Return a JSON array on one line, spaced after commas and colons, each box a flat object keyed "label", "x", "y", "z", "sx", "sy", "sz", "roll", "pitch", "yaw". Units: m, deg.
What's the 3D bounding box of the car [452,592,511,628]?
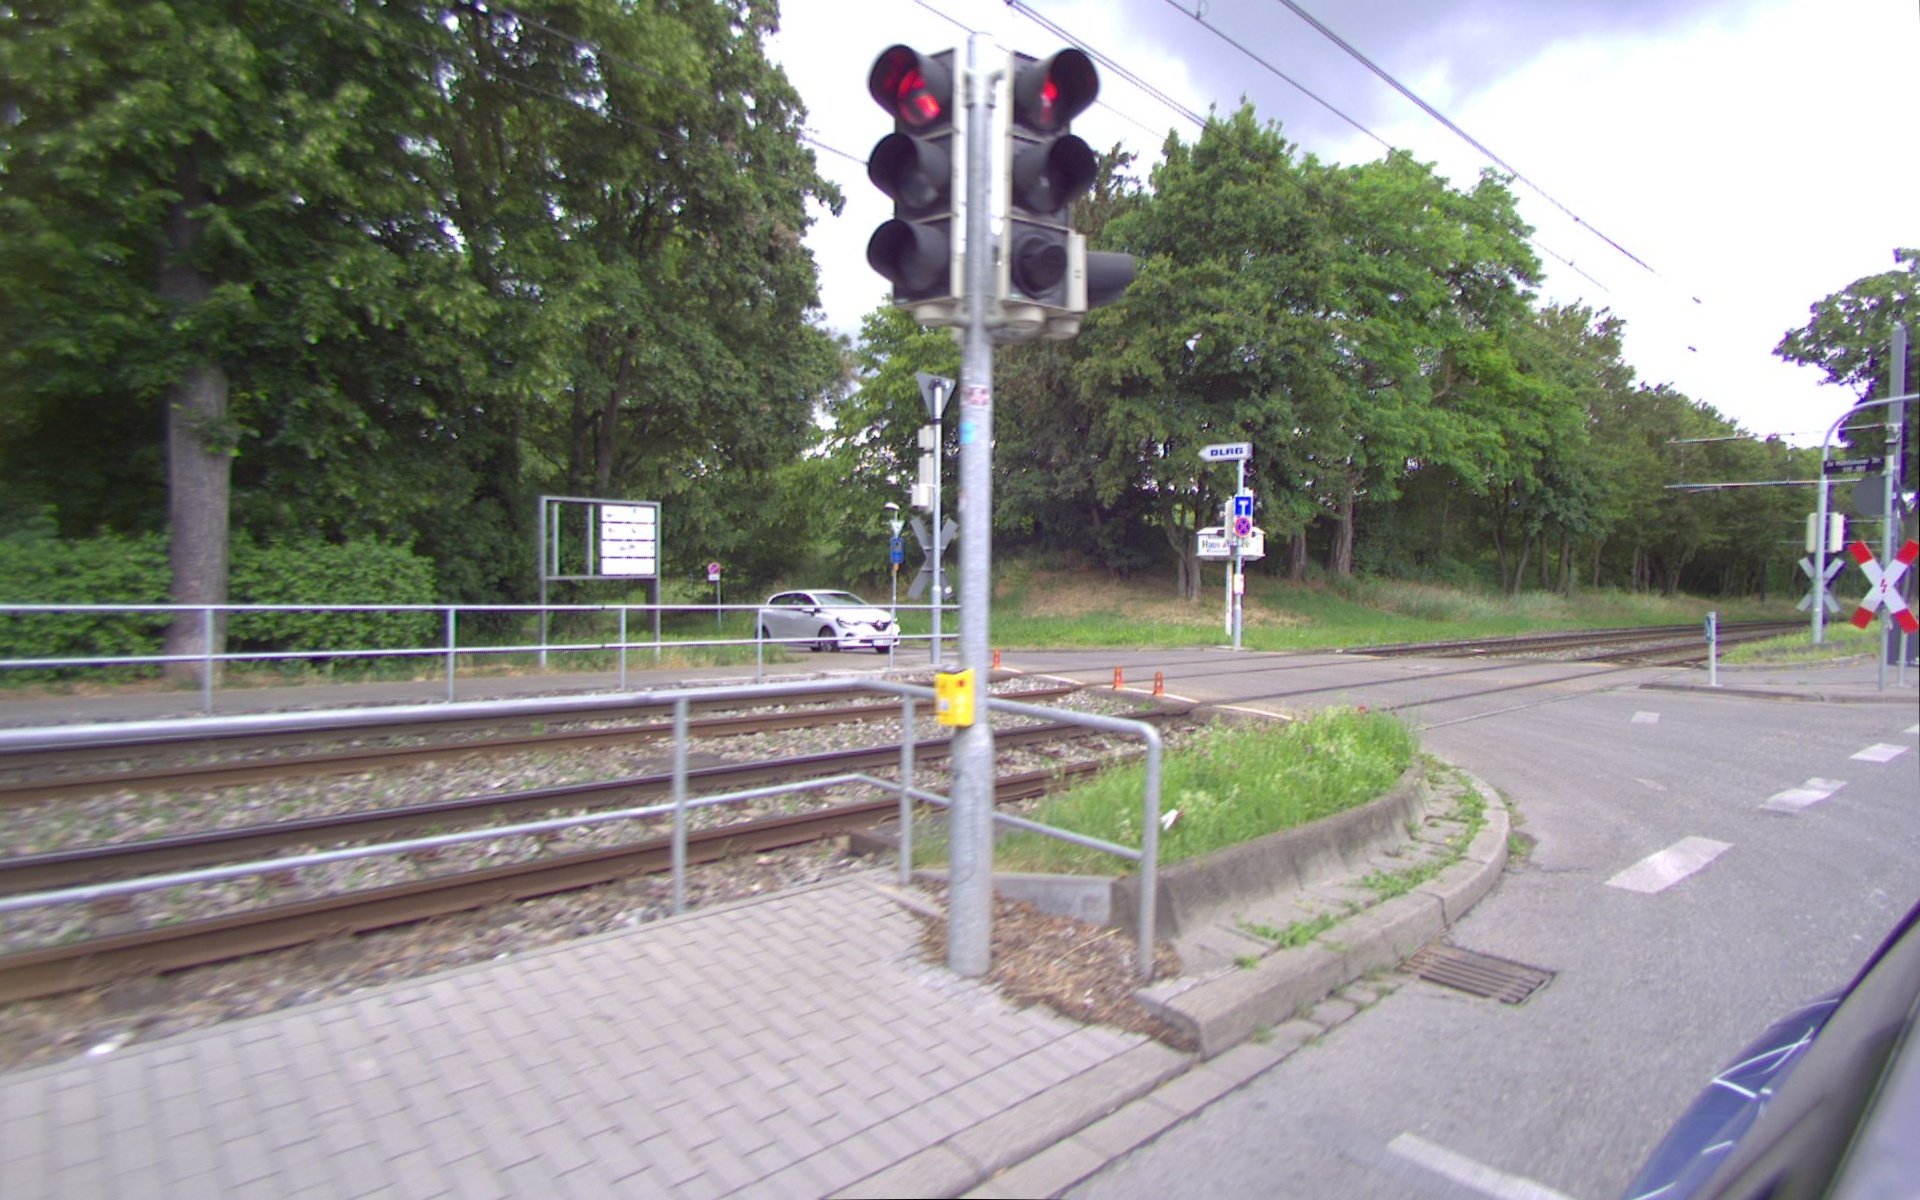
[{"label": "car", "x": -25.453, "y": 0.524, "z": 53.762, "sx": 1.774, "sy": 1.851, "sz": 3.991, "roll": 0, "pitch": 0, "yaw": -42}]

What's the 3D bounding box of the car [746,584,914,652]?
[{"label": "car", "x": -2.997, "y": 0.401, "z": 22.757, "sx": 1.756, "sy": 1.402, "sz": 3.989, "roll": 0, "pitch": -1, "yaw": -43}]

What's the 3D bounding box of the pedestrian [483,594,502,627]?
[{"label": "pedestrian", "x": -24.268, "y": 0.562, "z": 52.524, "sx": 0.713, "sy": 1.688, "sz": 0.645, "roll": 0, "pitch": -1, "yaw": -43}]
